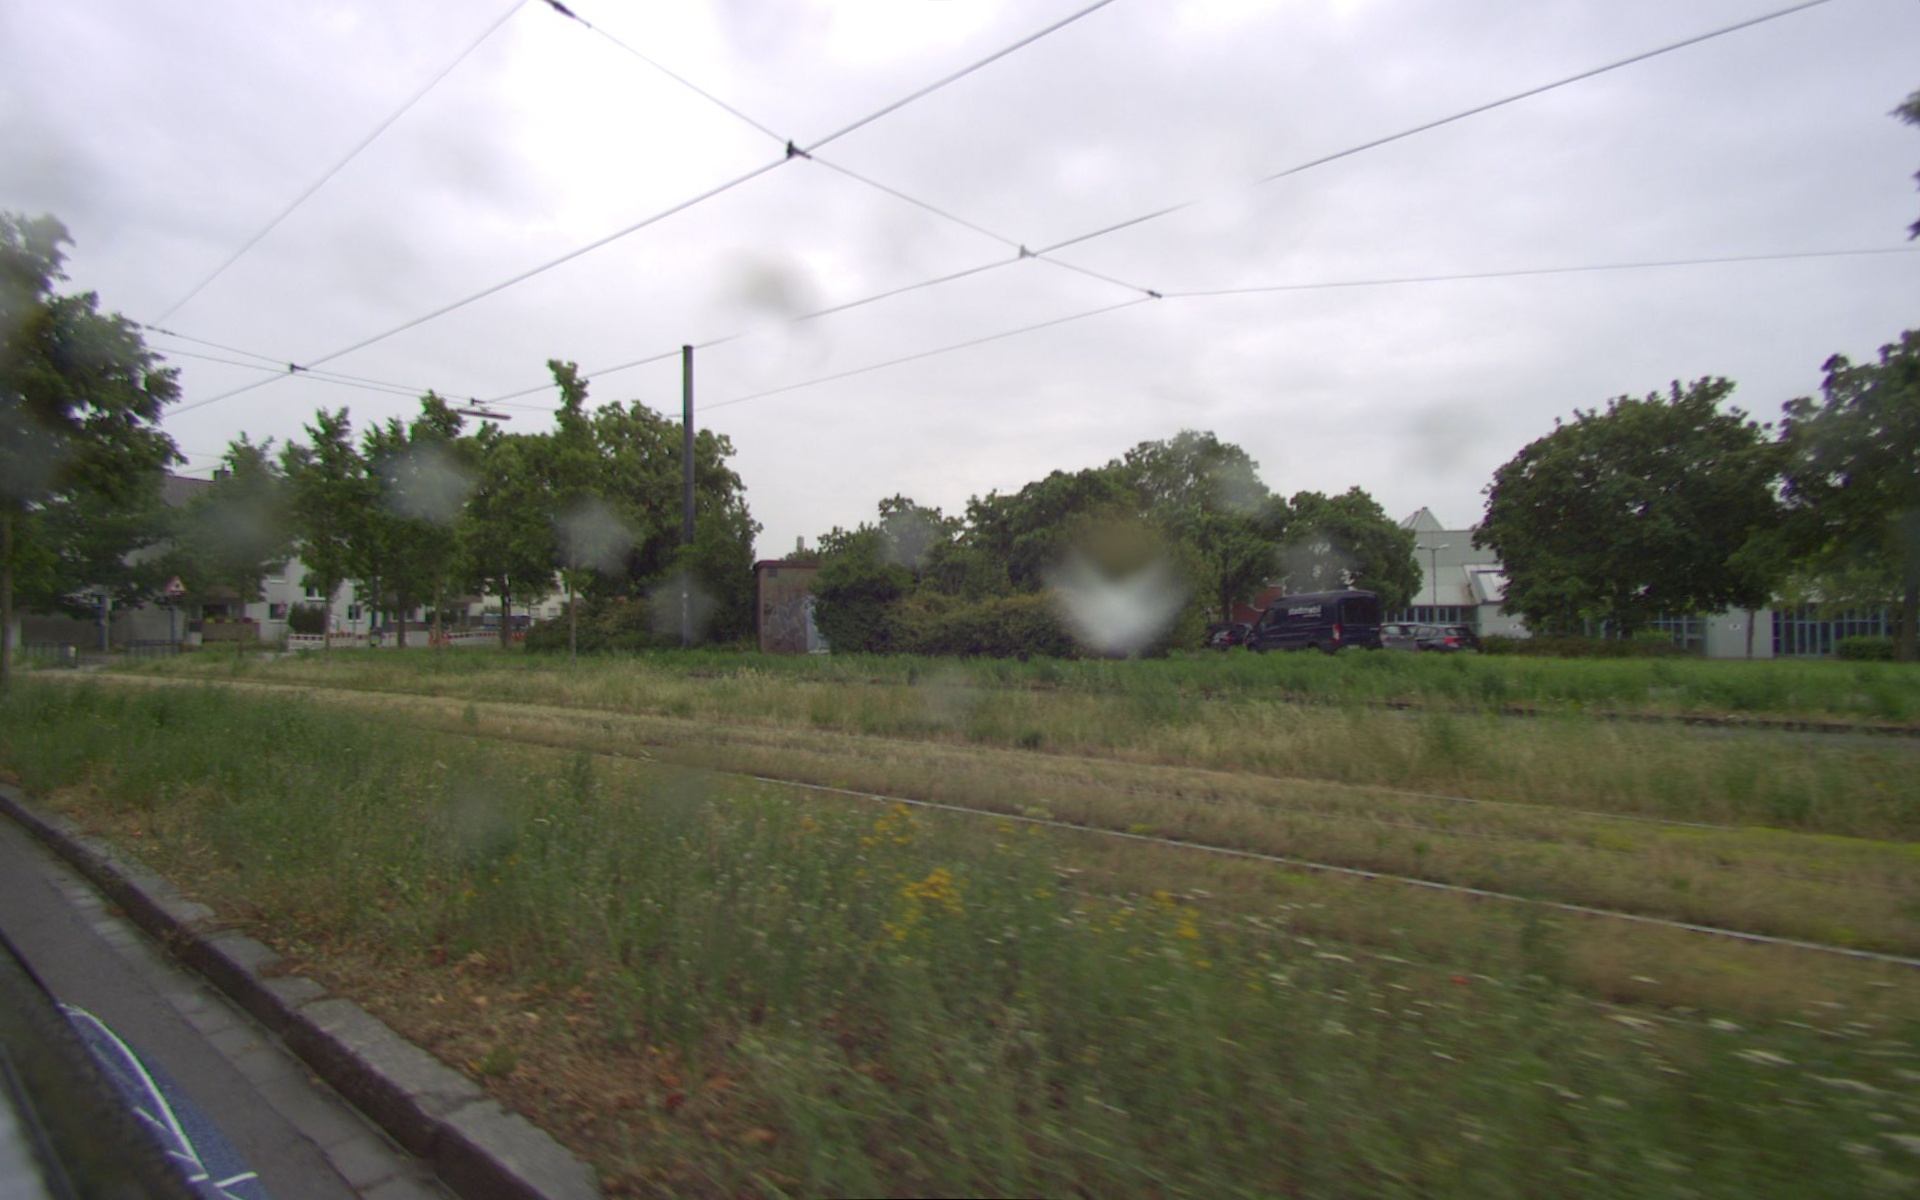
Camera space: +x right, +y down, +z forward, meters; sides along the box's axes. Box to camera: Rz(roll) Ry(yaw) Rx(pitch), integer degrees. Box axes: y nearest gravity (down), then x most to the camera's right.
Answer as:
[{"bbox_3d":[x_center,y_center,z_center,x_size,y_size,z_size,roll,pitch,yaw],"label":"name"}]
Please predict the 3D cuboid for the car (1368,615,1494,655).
[{"bbox_3d":[16.890,1.257,36.524,1.805,1.349,4.110,1,-2,-18],"label":"car"}]

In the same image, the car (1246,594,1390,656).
[{"bbox_3d":[12.122,0.902,34.682,2.001,1.962,4.730,1,-2,-22],"label":"car"}]

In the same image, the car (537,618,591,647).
[{"bbox_3d":[-33.727,2.784,86.324,1.903,2.465,4.442,-1,-2,19],"label":"car"}]

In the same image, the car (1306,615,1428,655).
[{"bbox_3d":[14.442,1.259,36.176,1.805,1.349,4.110,1,-2,-18],"label":"car"}]

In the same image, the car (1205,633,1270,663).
[{"bbox_3d":[14.542,2.510,53.281,1.753,1.475,4.008,0,-2,-9],"label":"car"}]
